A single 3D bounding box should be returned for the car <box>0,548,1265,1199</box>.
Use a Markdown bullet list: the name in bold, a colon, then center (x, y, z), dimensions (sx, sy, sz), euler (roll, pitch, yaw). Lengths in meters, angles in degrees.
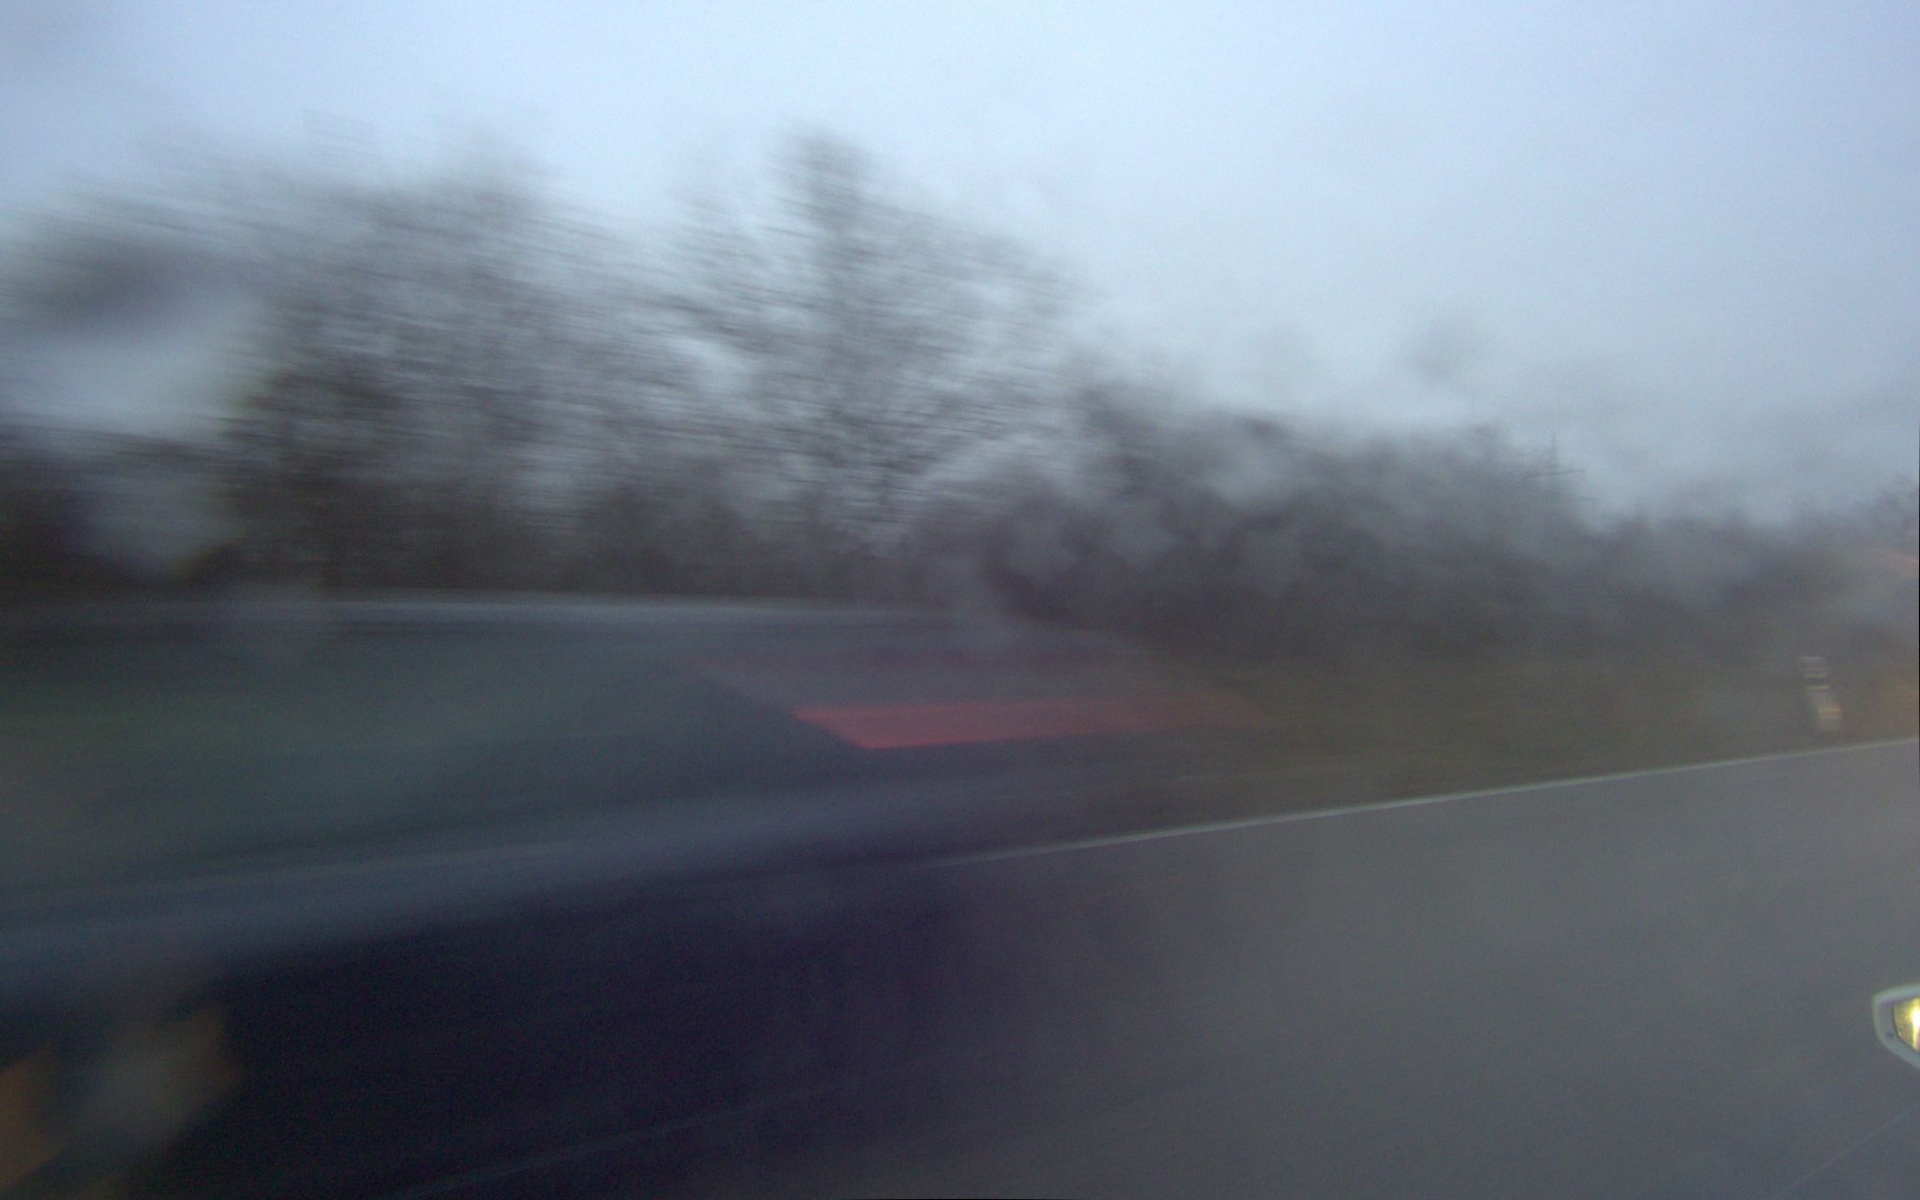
- **car**: center (-1.142, 0.682, 2.924), dimensions (3.845, 1.494, 1.743), euler (2, 0, -30)
